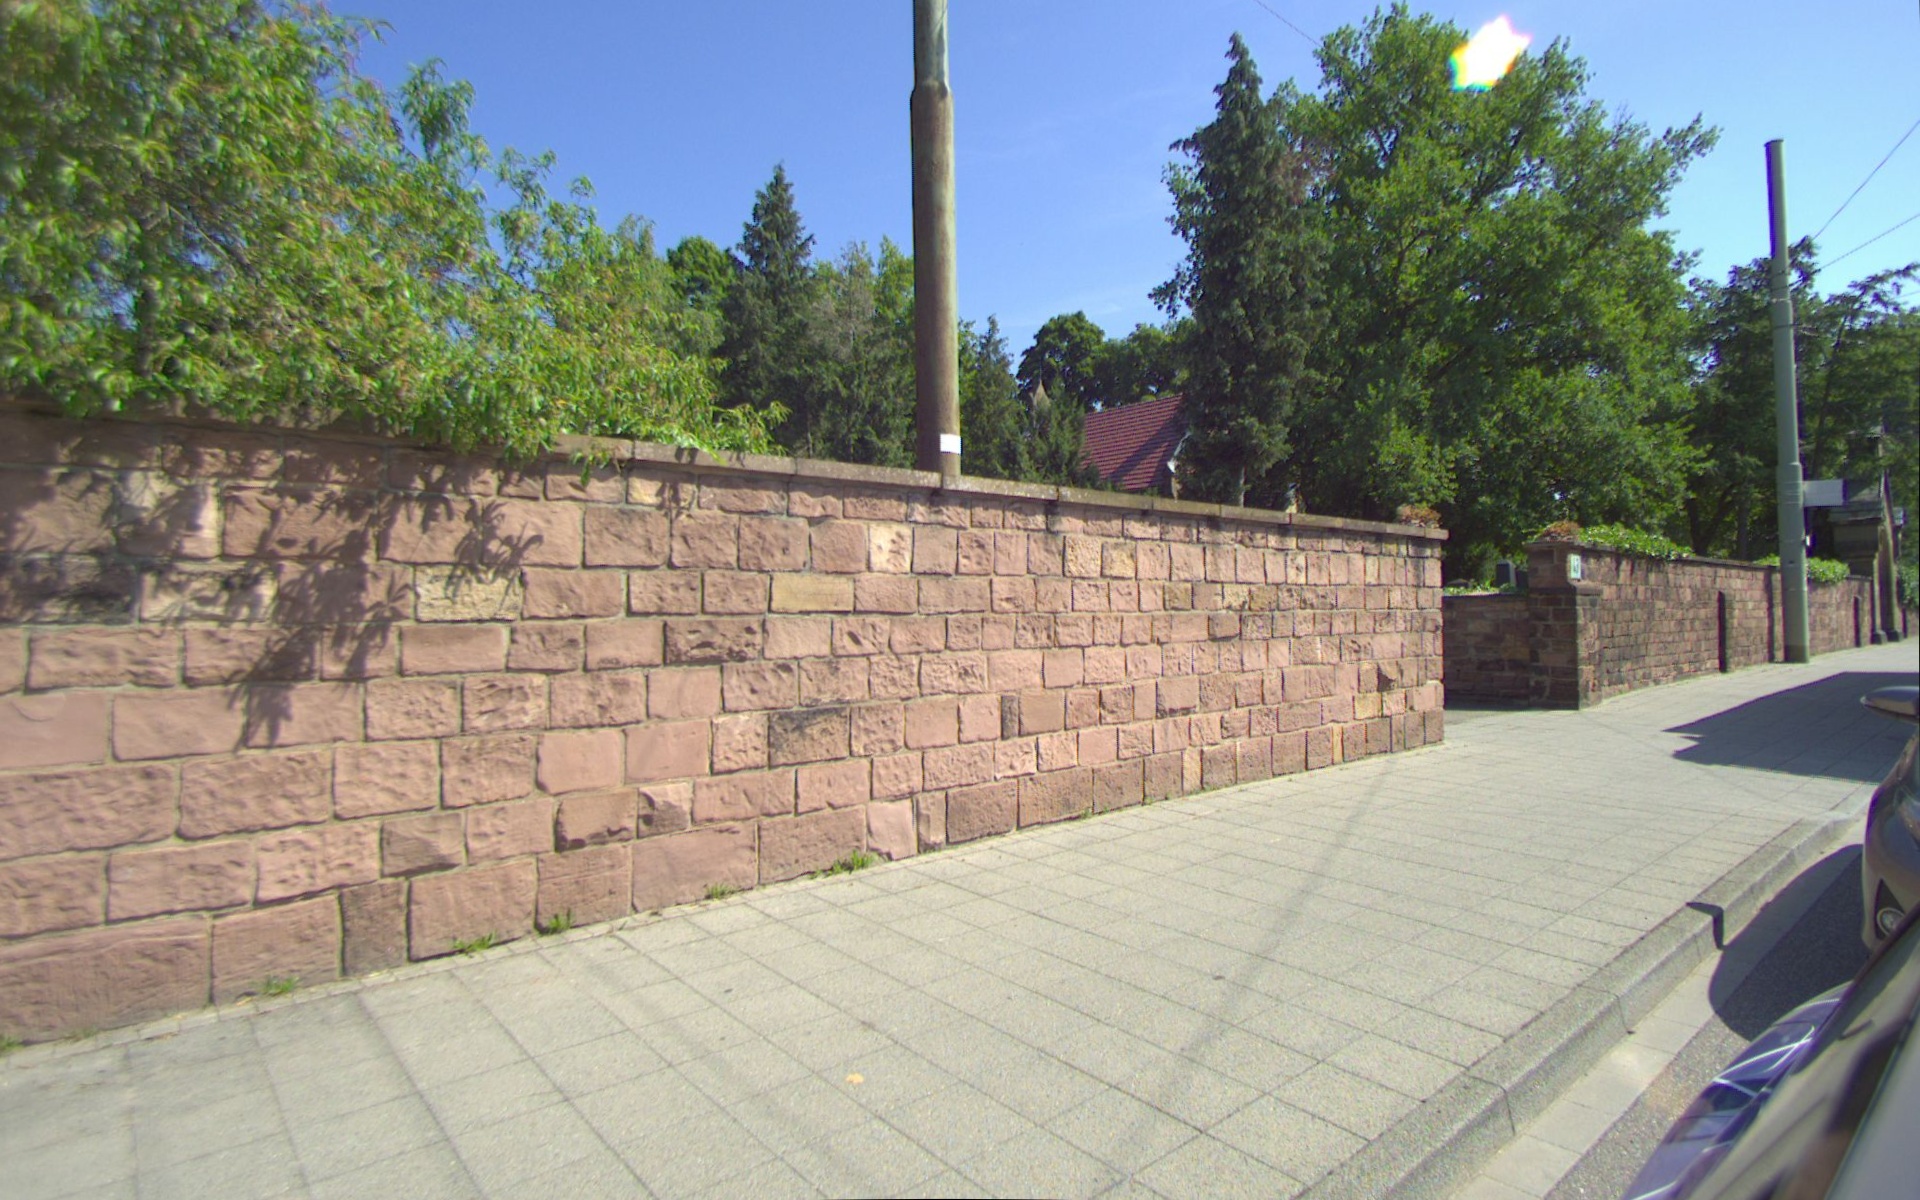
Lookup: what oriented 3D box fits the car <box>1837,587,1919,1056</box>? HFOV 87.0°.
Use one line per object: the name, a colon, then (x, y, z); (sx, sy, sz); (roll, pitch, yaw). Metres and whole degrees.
car: (5.062, 0.674, 4.046); (4.384, 1.451, 1.741); (0, 0, -41)
